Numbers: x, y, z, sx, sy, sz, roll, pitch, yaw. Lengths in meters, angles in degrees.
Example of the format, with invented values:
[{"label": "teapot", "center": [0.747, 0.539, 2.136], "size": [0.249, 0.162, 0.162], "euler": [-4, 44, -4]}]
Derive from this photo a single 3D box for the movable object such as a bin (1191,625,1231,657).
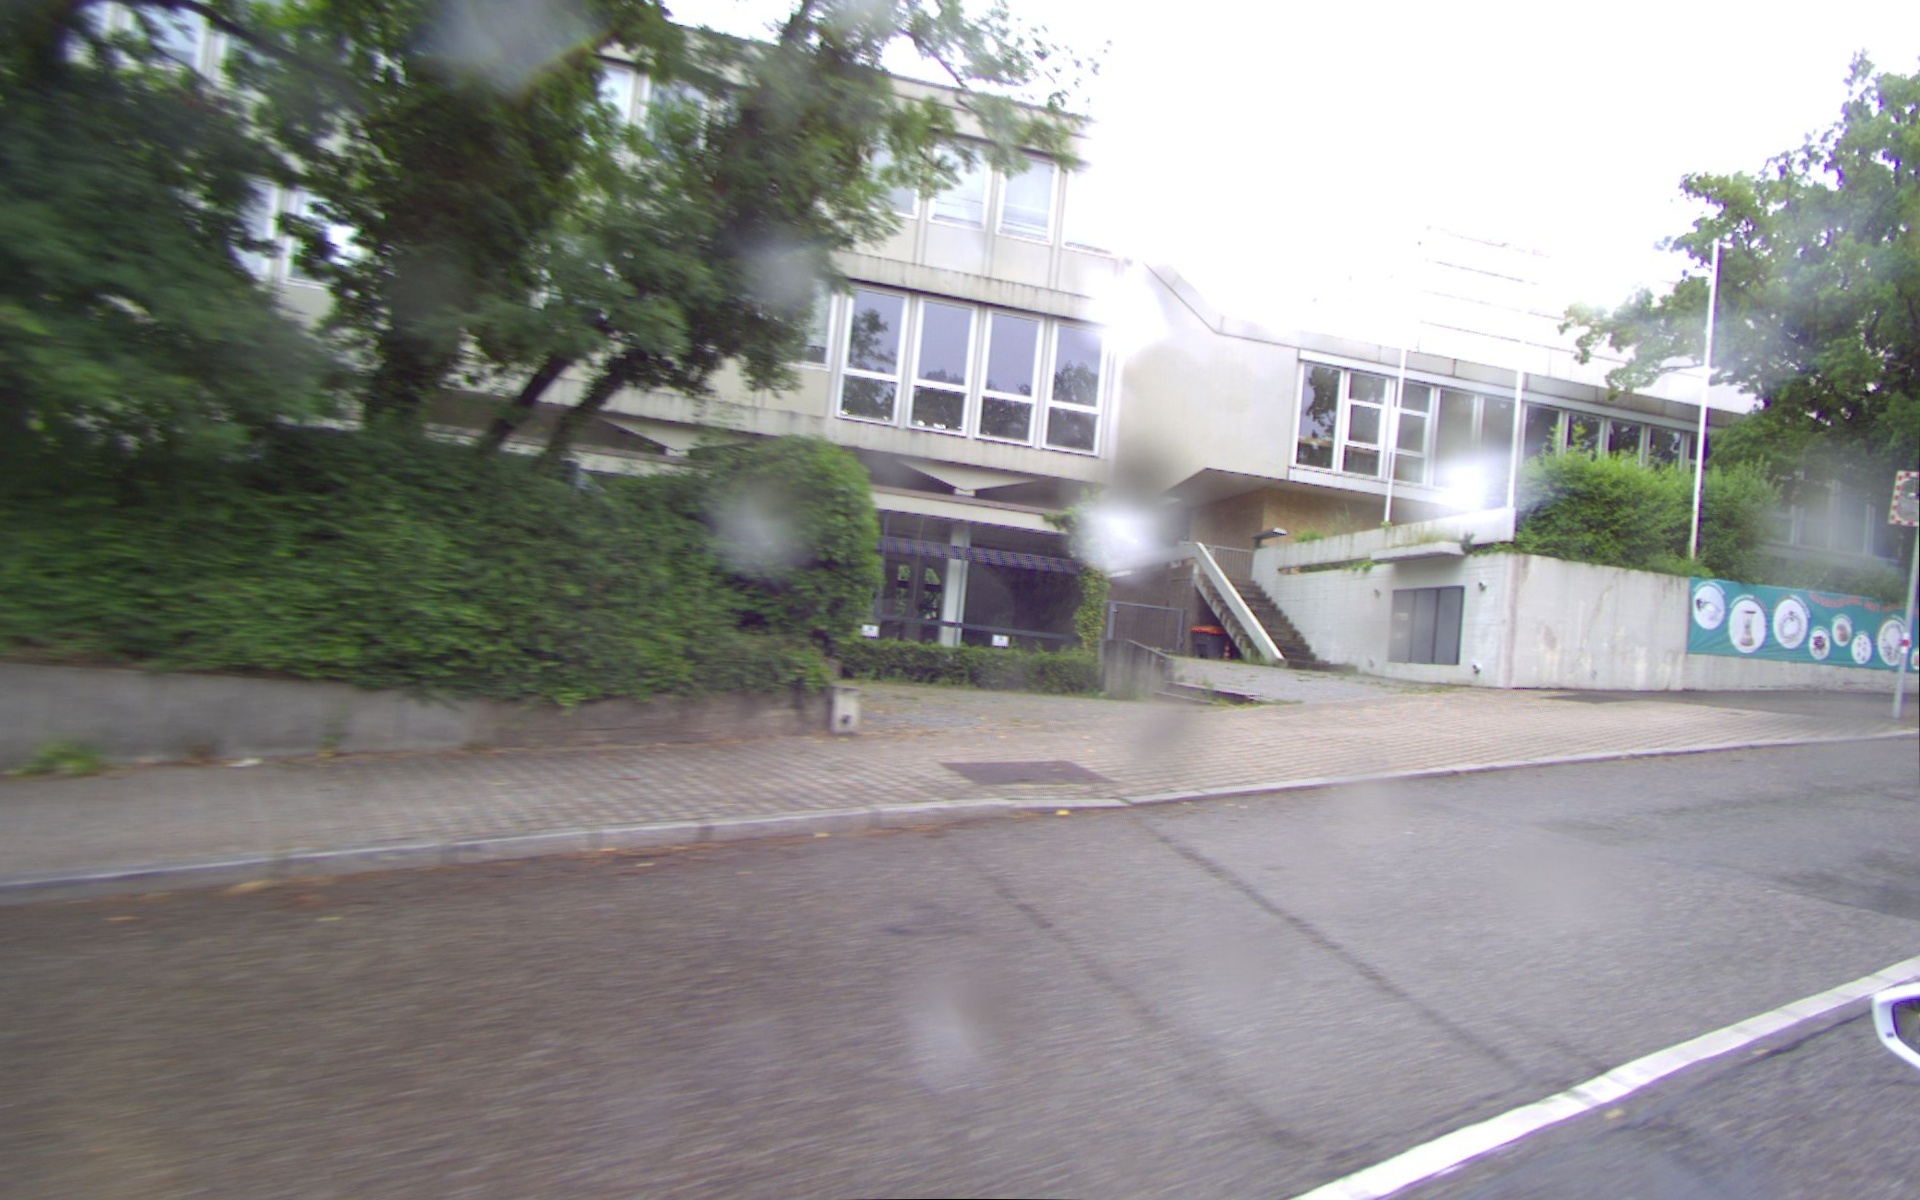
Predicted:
[{"label": "movable object such as a bin", "center": [6.606, 1.078, 26.485], "size": [0.593, 0.804, 1.033], "euler": [0, -2, -14]}]
